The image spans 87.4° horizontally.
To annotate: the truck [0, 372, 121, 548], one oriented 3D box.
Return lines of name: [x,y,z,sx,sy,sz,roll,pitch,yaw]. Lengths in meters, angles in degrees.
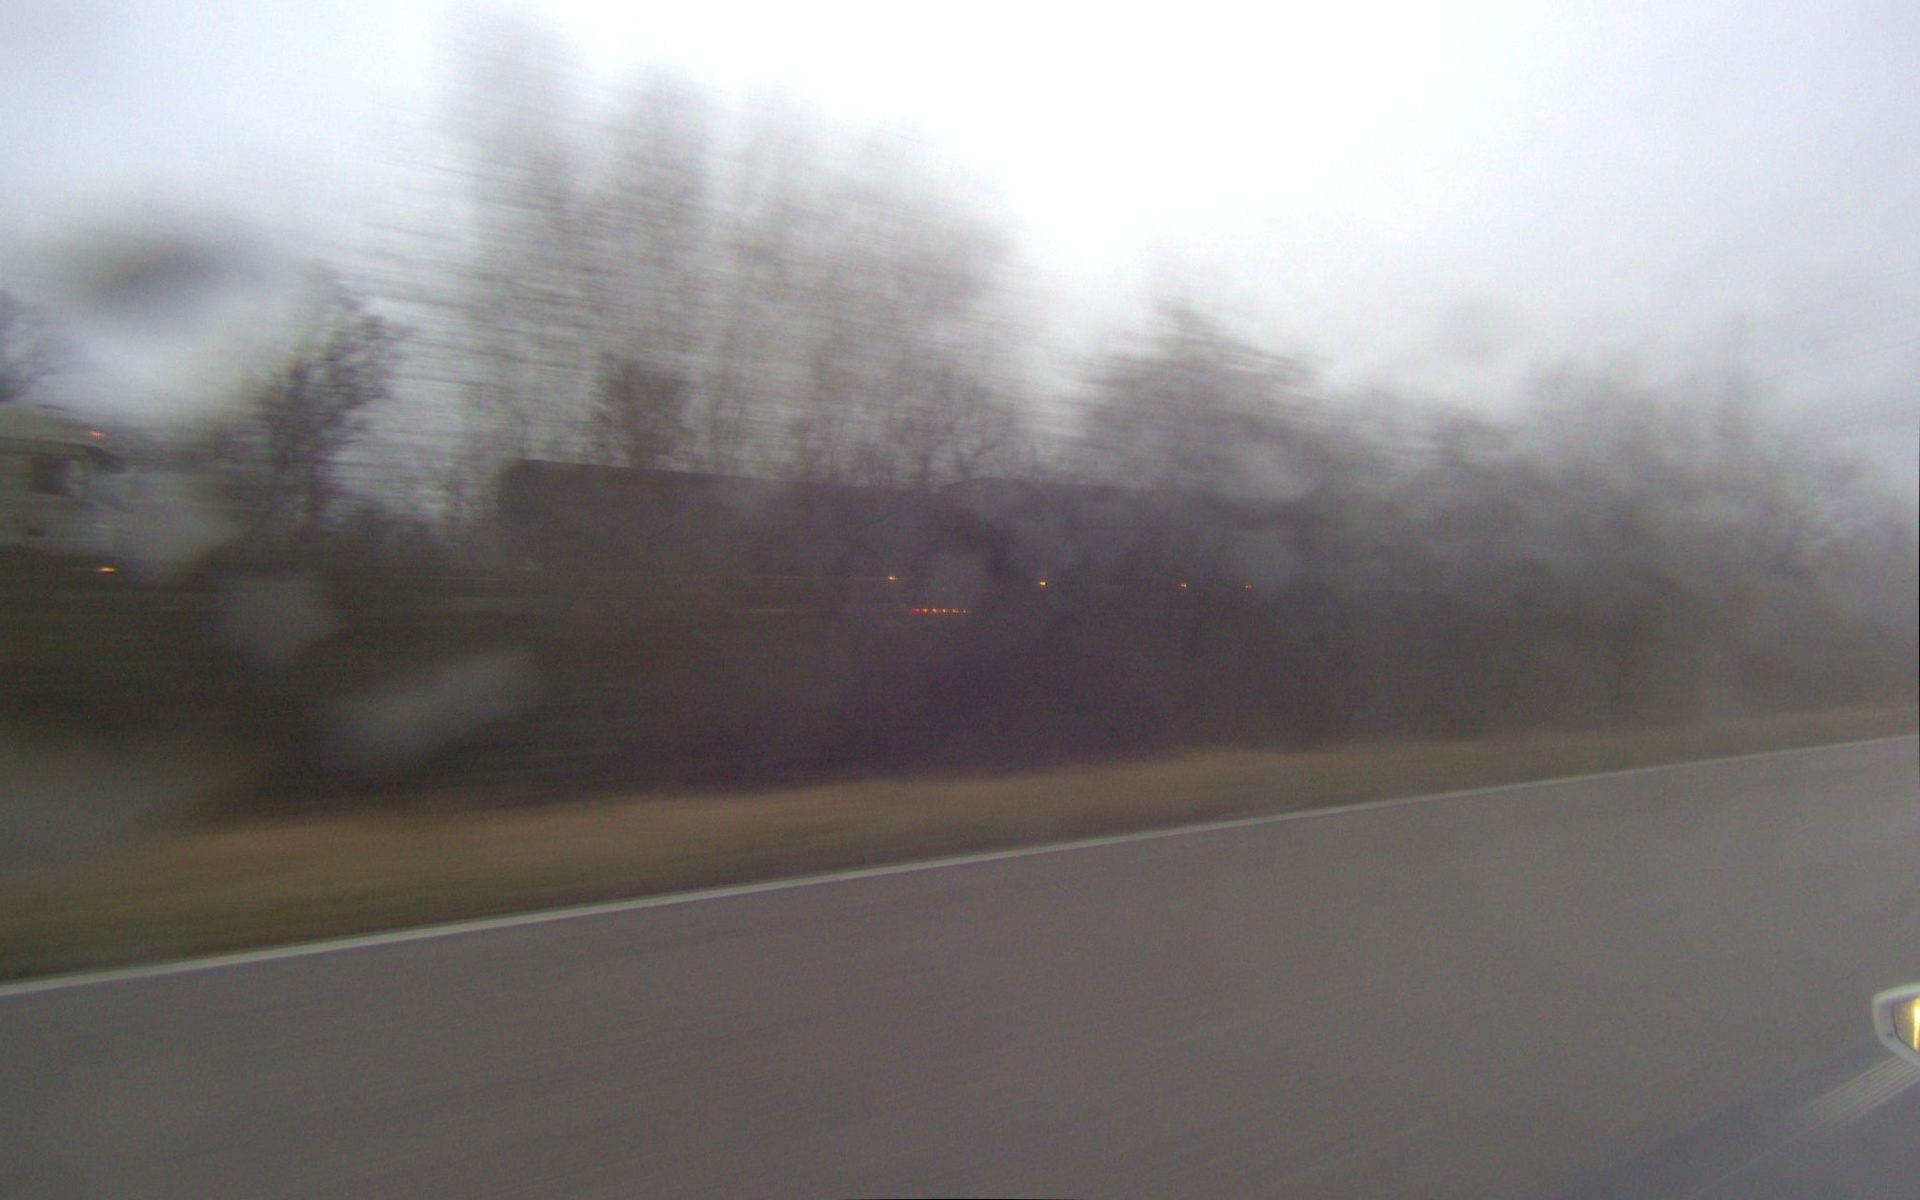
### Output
truck: [-18.941,-2.607,18.037,5.519,2.925,2.438,2,-1,-31]

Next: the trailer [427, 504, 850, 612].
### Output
trailer: [-8.904,-1.008,29.004,11.366,2.456,2.497,2,-2,-30]

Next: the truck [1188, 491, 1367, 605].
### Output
truck: [11.557,-1.736,36.471,5.997,3.680,2.977,2,-1,-31]

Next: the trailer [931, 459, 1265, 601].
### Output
trailer: [4.711,-1.955,32.326,11.256,3.682,2.983,2,-1,-31]

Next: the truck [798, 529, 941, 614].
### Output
truck: [-2.929,-0.833,32.511,3.953,2.468,2.518,2,-2,-30]
